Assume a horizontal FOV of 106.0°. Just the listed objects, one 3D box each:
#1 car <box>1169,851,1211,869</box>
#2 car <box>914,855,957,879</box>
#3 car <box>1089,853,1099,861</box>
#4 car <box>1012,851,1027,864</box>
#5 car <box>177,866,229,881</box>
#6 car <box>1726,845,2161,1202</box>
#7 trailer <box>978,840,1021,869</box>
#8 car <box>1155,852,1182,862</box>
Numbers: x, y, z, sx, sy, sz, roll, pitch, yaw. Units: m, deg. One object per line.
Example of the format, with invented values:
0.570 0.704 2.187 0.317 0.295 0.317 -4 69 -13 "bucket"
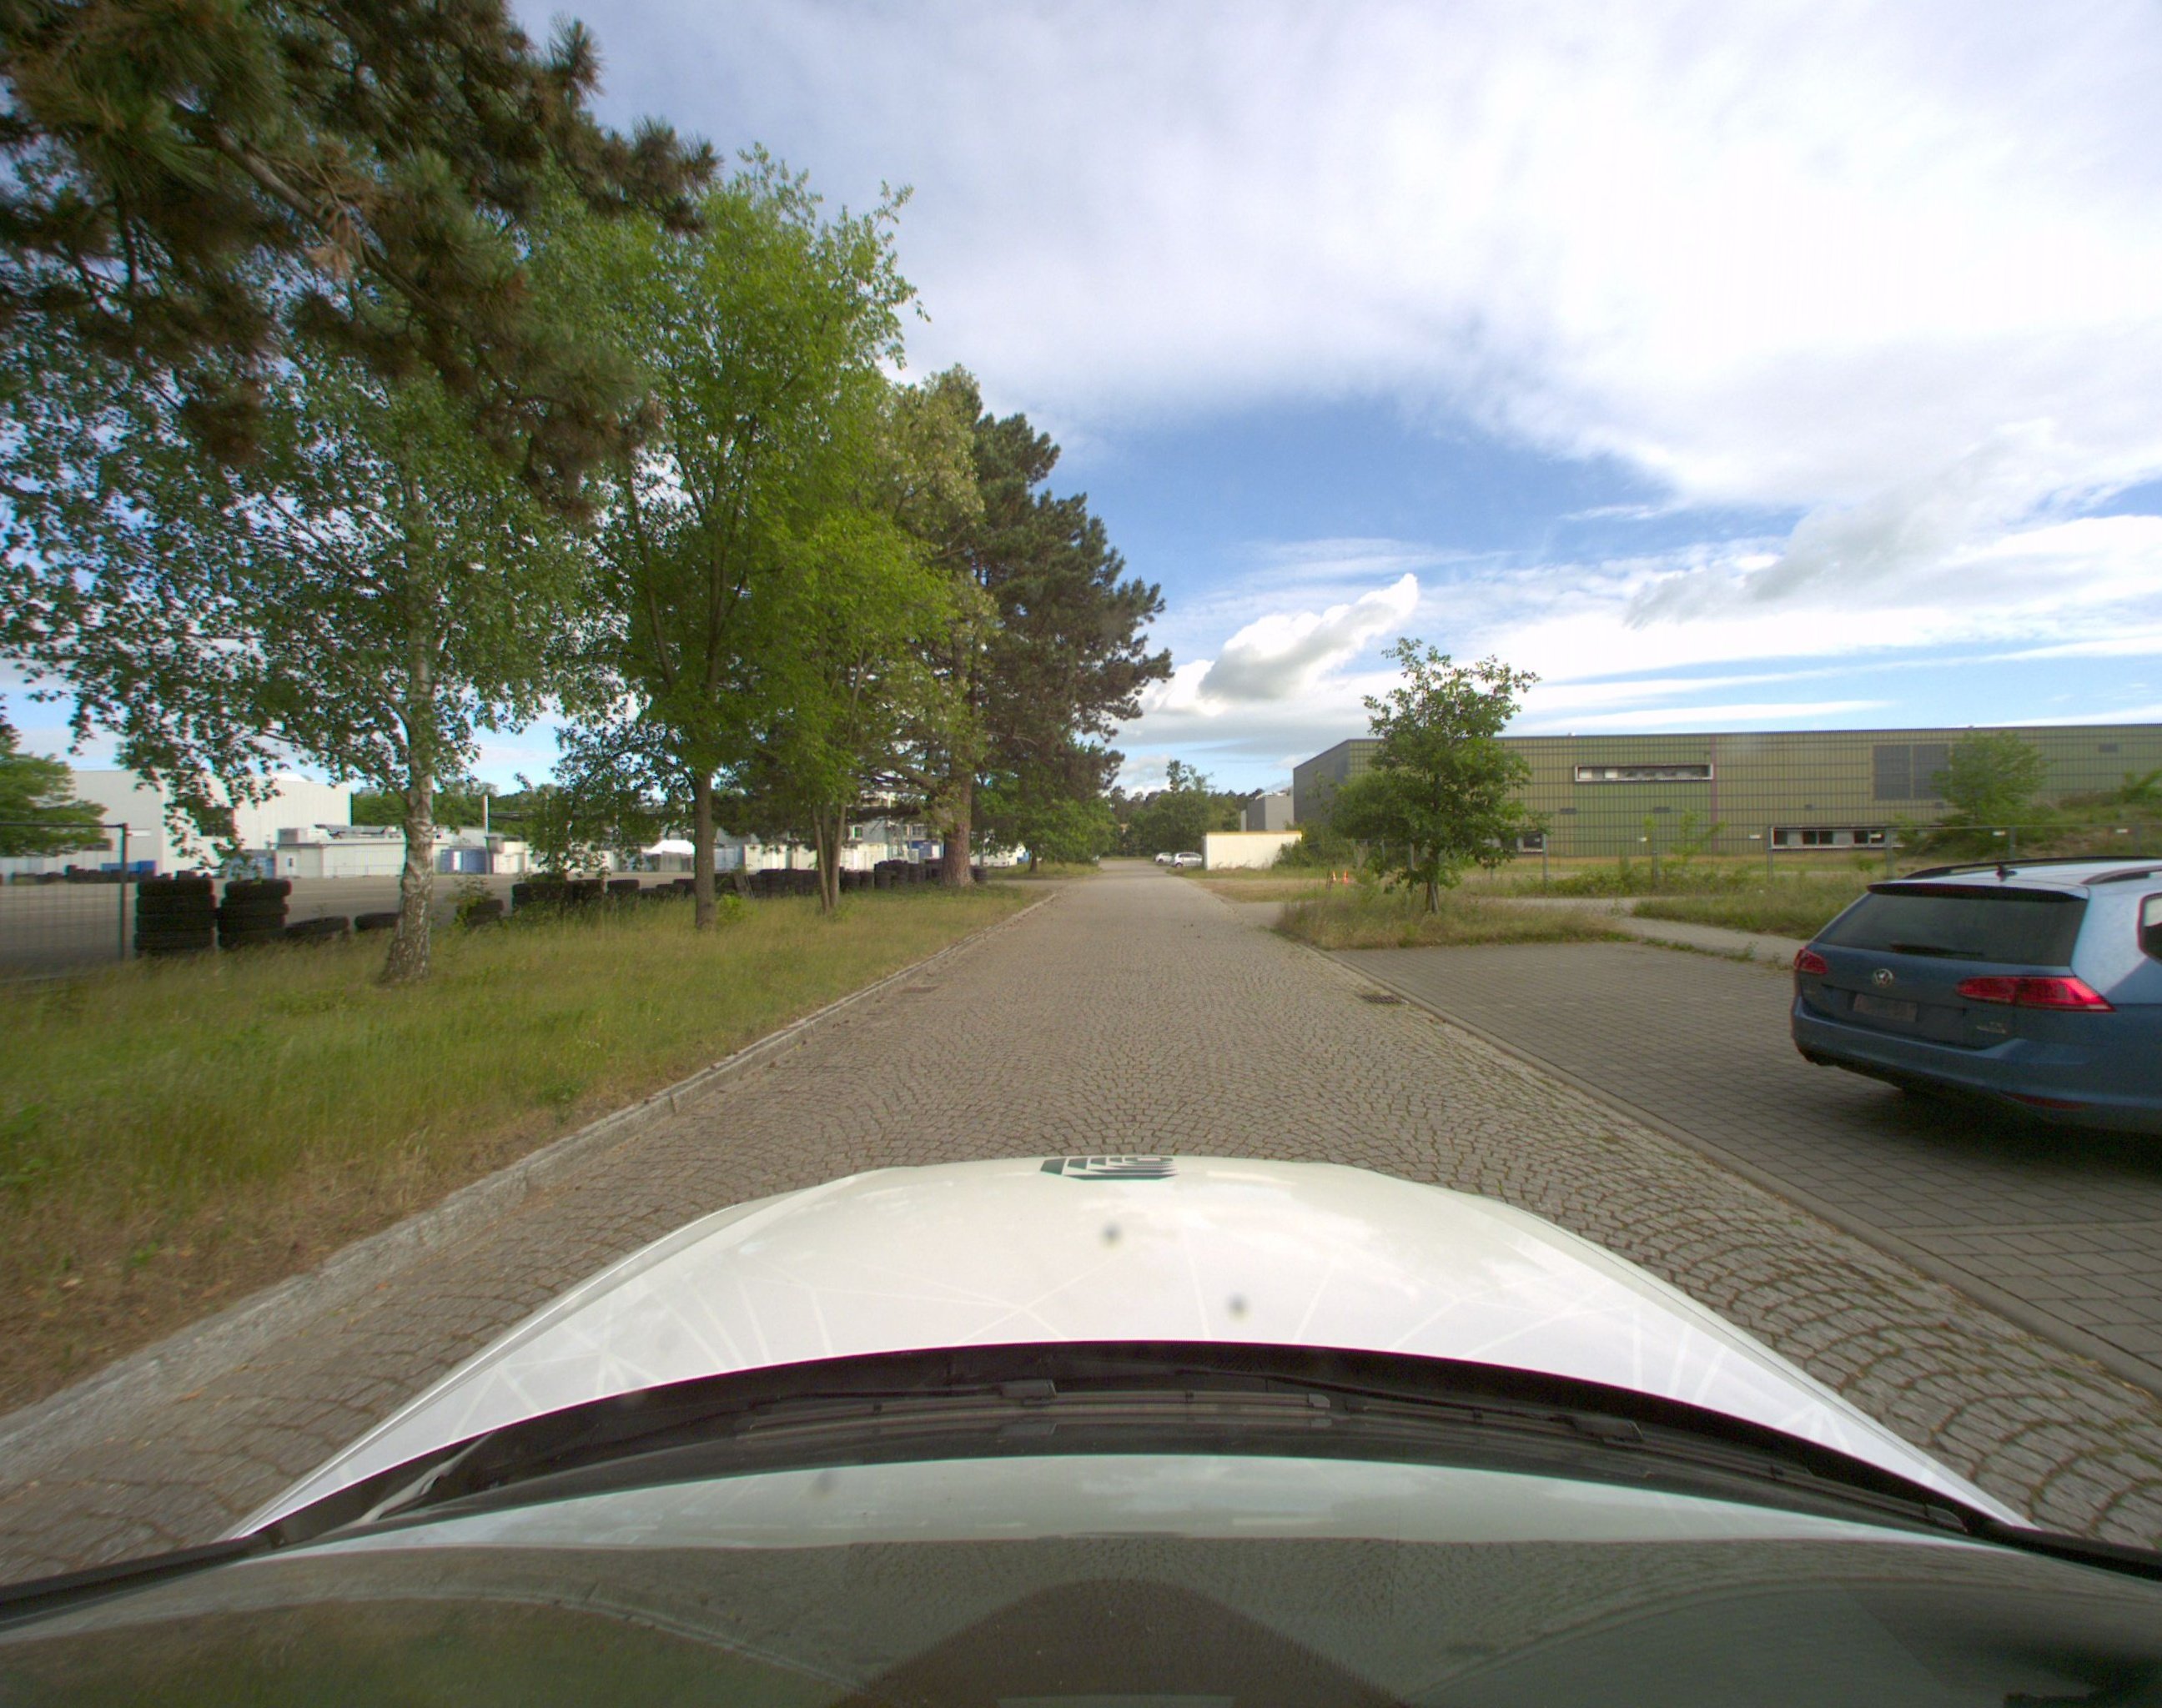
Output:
10.422 0.562 77.989 3.836 1.654 1.686 -1 0 0 "car"
-9.604 0.844 54.108 1.756 1.453 3.497 -1 0 9 "car"
2.446 0.575 153.079 1.797 1.535 4.001 -1 0 1 "car"
-9.960 0.519 132.466 1.918 2.047 4.601 -1 0 1 "car"
-97.177 2.124 90.189 3.952 1.533 1.631 -1 0 1 "car"
6.544 0.693 4.502 4.507 1.443 1.823 -3 0 -1 "car"
-9.076 0.038 91.612 3.143 3.067 8.797 -1 0 5 "trailer"
13.343 0.414 124.094 4.007 1.502 1.550 -1 0 4 "car"
